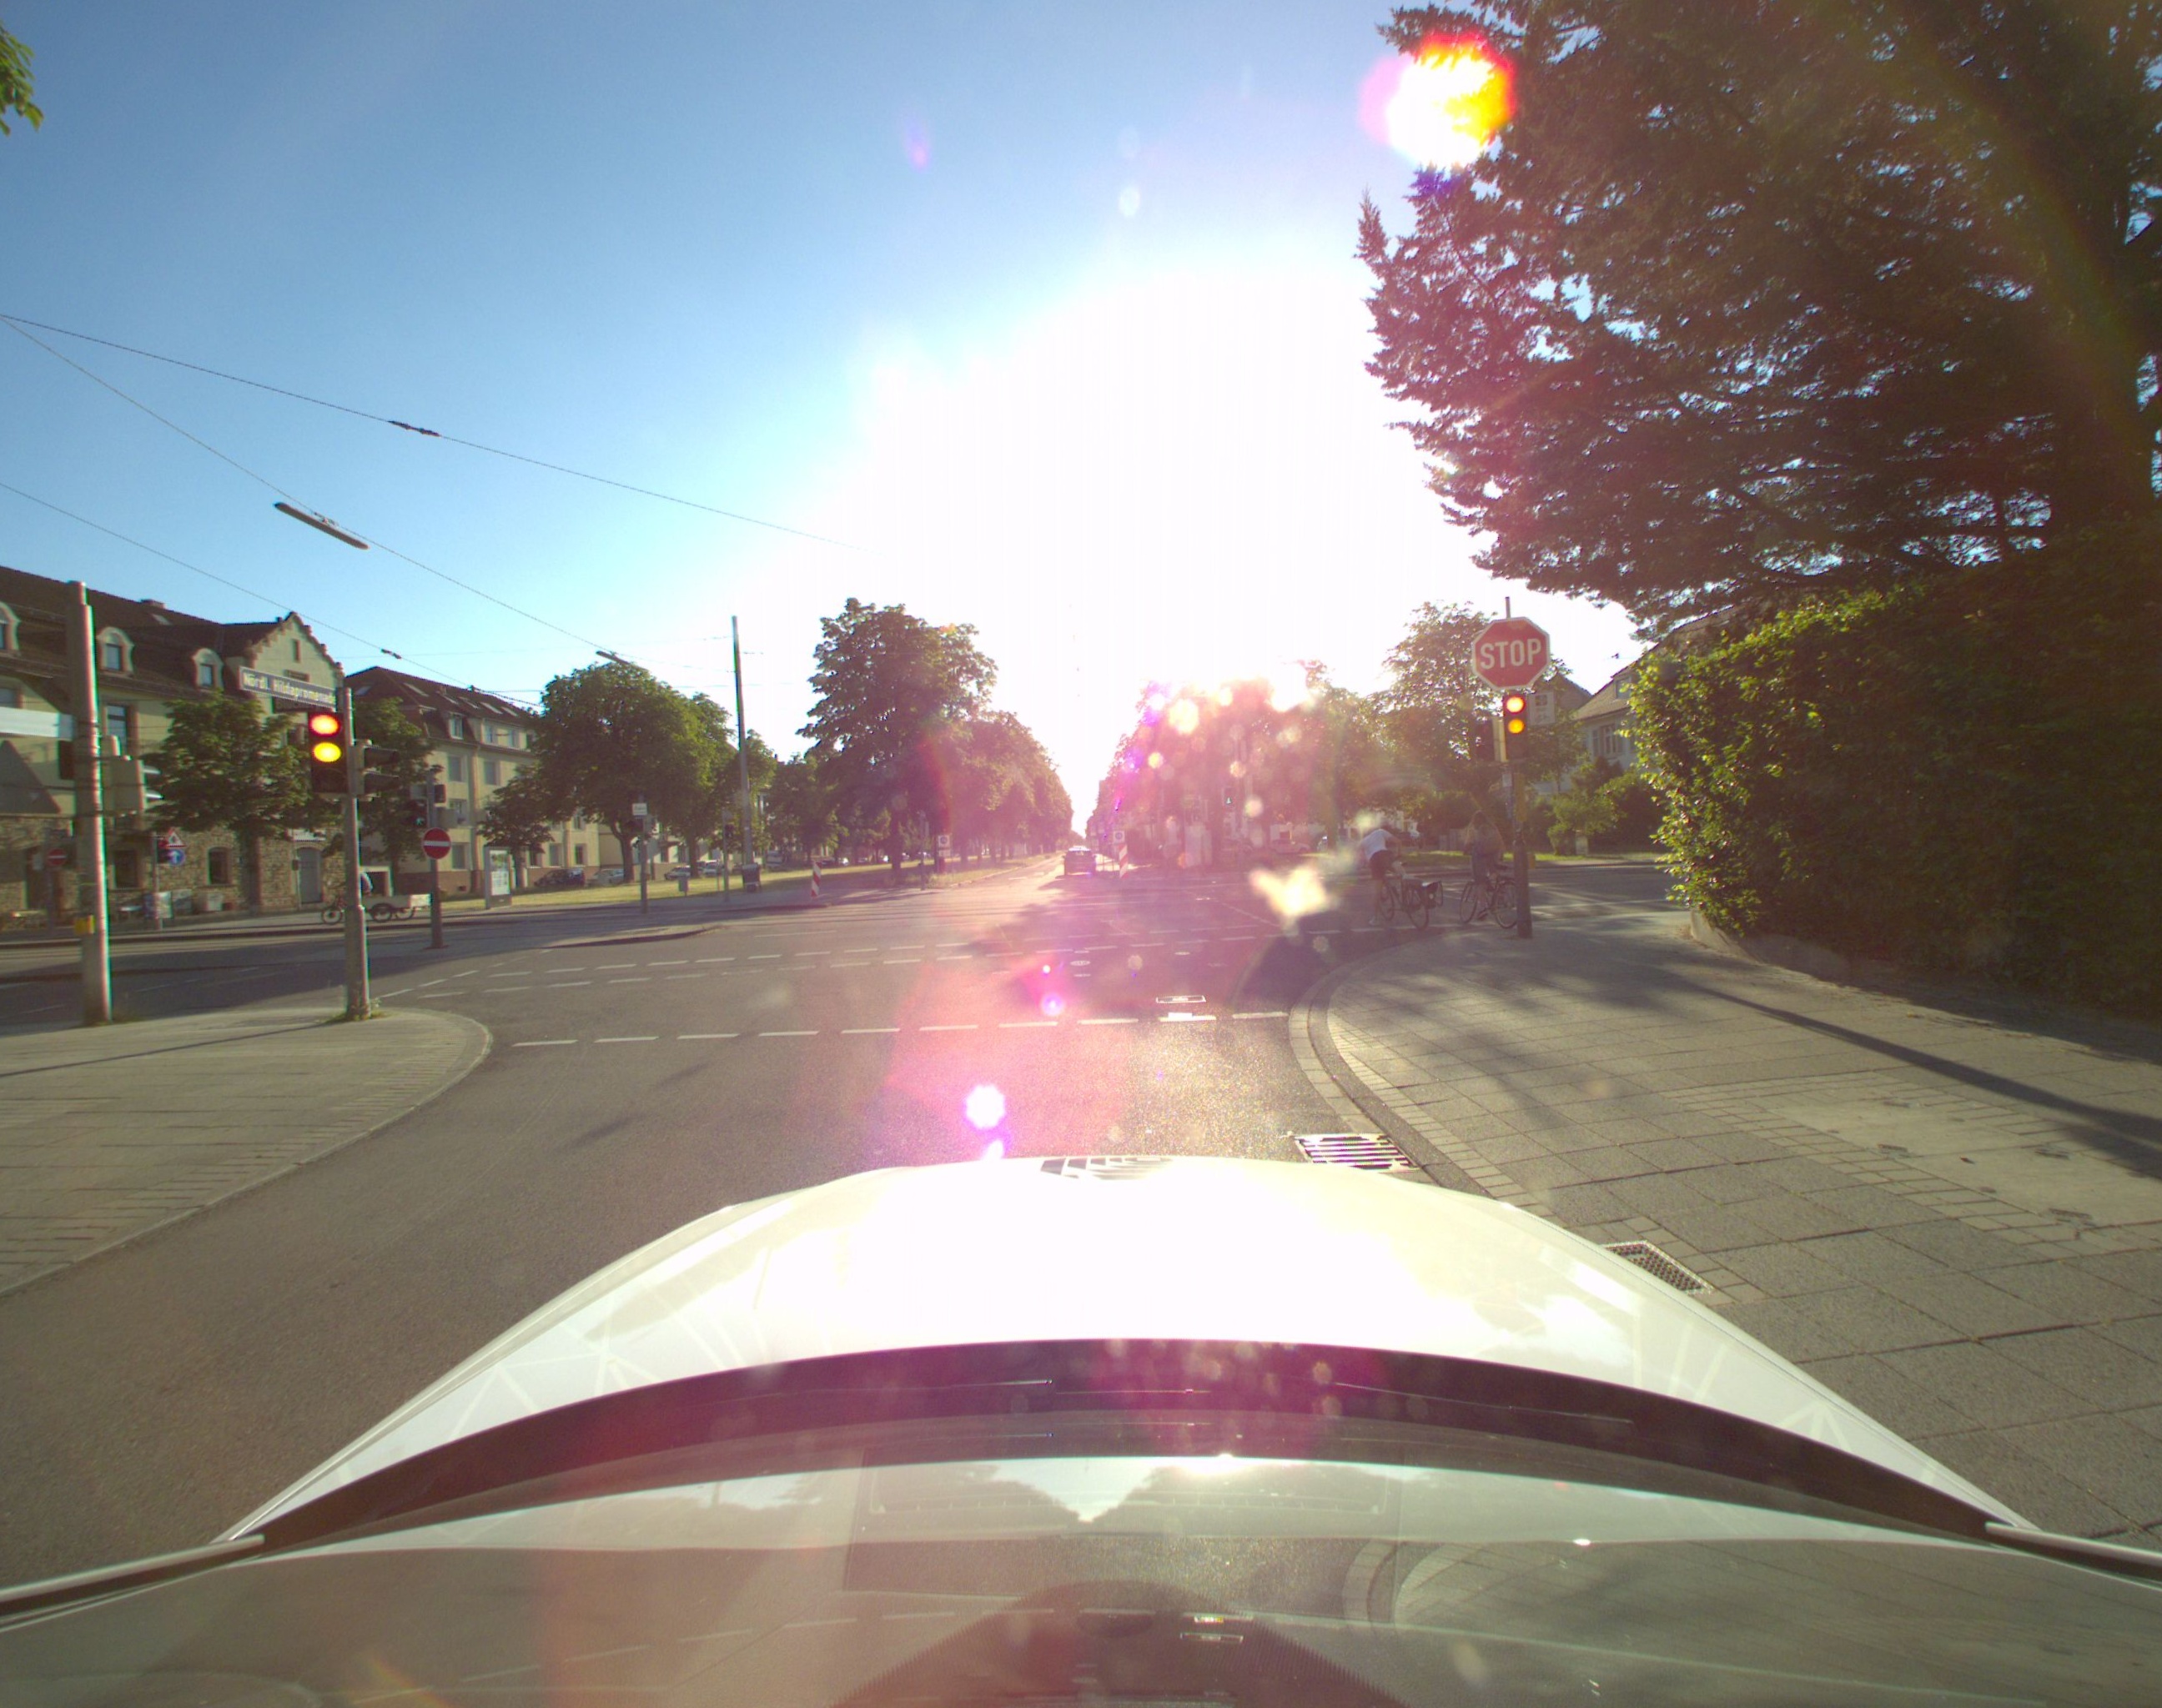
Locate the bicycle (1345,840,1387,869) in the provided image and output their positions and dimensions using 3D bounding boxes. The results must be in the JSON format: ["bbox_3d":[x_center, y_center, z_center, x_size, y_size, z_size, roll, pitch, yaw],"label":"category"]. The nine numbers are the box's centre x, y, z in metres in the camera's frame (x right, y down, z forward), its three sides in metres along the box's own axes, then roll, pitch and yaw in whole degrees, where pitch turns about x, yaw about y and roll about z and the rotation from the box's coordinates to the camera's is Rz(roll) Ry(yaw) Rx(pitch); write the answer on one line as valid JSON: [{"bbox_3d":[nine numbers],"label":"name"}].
[{"bbox_3d":[11.457,0.015,32.728,1.513,1.089,0.468,-2,0,9],"label":"bicycle"}]

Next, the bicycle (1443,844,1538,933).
[{"bbox_3d":[6.289,0.485,12.621,0.489,1.183,1.965,0,3,1],"label":"bicycle"}]

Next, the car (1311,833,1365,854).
[{"bbox_3d":[20.706,-0.846,65.668,3.915,1.524,1.521,-1,-1,-5],"label":"car"}]

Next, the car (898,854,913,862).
[{"bbox_3d":[-36.325,0.908,168.668,2.016,1.659,3.984,0,-1,1],"label":"car"}]

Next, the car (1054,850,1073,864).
[{"bbox_3d":[-1.681,0.306,78.572,1.704,1.359,4.202,0,0,0],"label":"car"}]

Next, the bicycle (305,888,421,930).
[{"bbox_3d":[-23.240,1.776,26.390,3.059,1.161,0.876,-3,-1,4],"label":"bicycle"}]

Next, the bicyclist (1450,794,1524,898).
[{"bbox_3d":[6.304,-0.121,12.674,0.709,1.562,0.894,0,-1,2],"label":"bicyclist"}]

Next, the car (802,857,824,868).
[{"bbox_3d":[-42.068,1.316,127.915,1.986,1.659,4.376,0,-1,2],"label":"car"}]

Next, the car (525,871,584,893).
[{"bbox_3d":[-43.357,2.294,67.214,1.986,1.736,4.313,0,-1,2],"label":"car"}]

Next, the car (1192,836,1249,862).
[{"bbox_3d":[11.188,-0.383,65.452,4.228,1.875,2.030,-2,-1,-1],"label":"car"}]

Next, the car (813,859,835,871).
[{"bbox_3d":[-37.114,1.525,117.726,1.873,1.674,4.315,0,0,1],"label":"car"}]

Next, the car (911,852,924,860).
[{"bbox_3d":[-37.752,0.403,188.212,1.987,1.658,4.570,-2,0,0],"label":"car"}]

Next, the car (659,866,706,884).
[{"bbox_3d":[-37.470,1.942,76.711,1.986,1.659,4.572,0,0,2],"label":"car"}]

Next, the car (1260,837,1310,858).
[{"bbox_3d":[16.293,-0.548,65.078,3.548,1.516,1.602,-2,0,-6],"label":"car"}]

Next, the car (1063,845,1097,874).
[{"bbox_3d":[0.007,0.318,44.733,1.719,1.511,4.542,0,0,2],"label":"car"}]

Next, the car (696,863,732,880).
[{"bbox_3d":[-37.231,1.787,82.707,1.791,1.554,4.417,0,1,-2],"label":"car"}]

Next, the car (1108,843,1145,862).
[{"bbox_3d":[5.247,-0.186,93.533,3.980,1.822,1.757,-3,-5,-5],"label":"car"}]

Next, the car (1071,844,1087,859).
[{"bbox_3d":[-0.295,-0.336,103.941,1.987,1.781,3.999,0,1,-1],"label":"car"}]

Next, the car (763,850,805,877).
[{"bbox_3d":[-37.171,1.121,102.221,2.384,3.131,7.853,0,0,0],"label":"car"}]

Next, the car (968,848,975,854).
[{"bbox_3d":[-34.214,-0.990,255.022,1.649,1.938,3.566,0,-2,-1],"label":"car"}]

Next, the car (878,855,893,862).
[{"bbox_3d":[-41.786,0.973,174.047,1.986,1.659,4.357,0,-1,2],"label":"car"}]

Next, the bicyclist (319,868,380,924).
[{"bbox_3d":[-23.731,1.337,26.445,1.139,1.723,0.876,-3,-1,4],"label":"bicyclist"}]

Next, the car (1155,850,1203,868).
[{"bbox_3d":[8.661,0.456,72.130,3.975,1.447,1.715,-2,-1,-1],"label":"car"}]

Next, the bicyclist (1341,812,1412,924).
[{"bbox_3d":[4.740,0.224,13.134,0.812,1.732,0.894,0,-1,0],"label":"bicyclist"}]

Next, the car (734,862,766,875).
[{"bbox_3d":[-42.185,1.814,103.879,1.986,1.659,4.572,0,0,2],"label":"car"}]

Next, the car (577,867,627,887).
[{"bbox_3d":[-43.151,2.054,73.448,1.986,1.659,4.001,0,-1,2],"label":"car"}]

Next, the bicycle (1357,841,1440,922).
[{"bbox_3d":[4.987,0.404,12.921,0.570,1.184,1.905,0,0,0],"label":"bicycle"}]

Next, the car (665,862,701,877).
[{"bbox_3d":[-42.730,1.643,87.487,1.709,1.633,4.192,0,-1,2],"label":"car"}]
